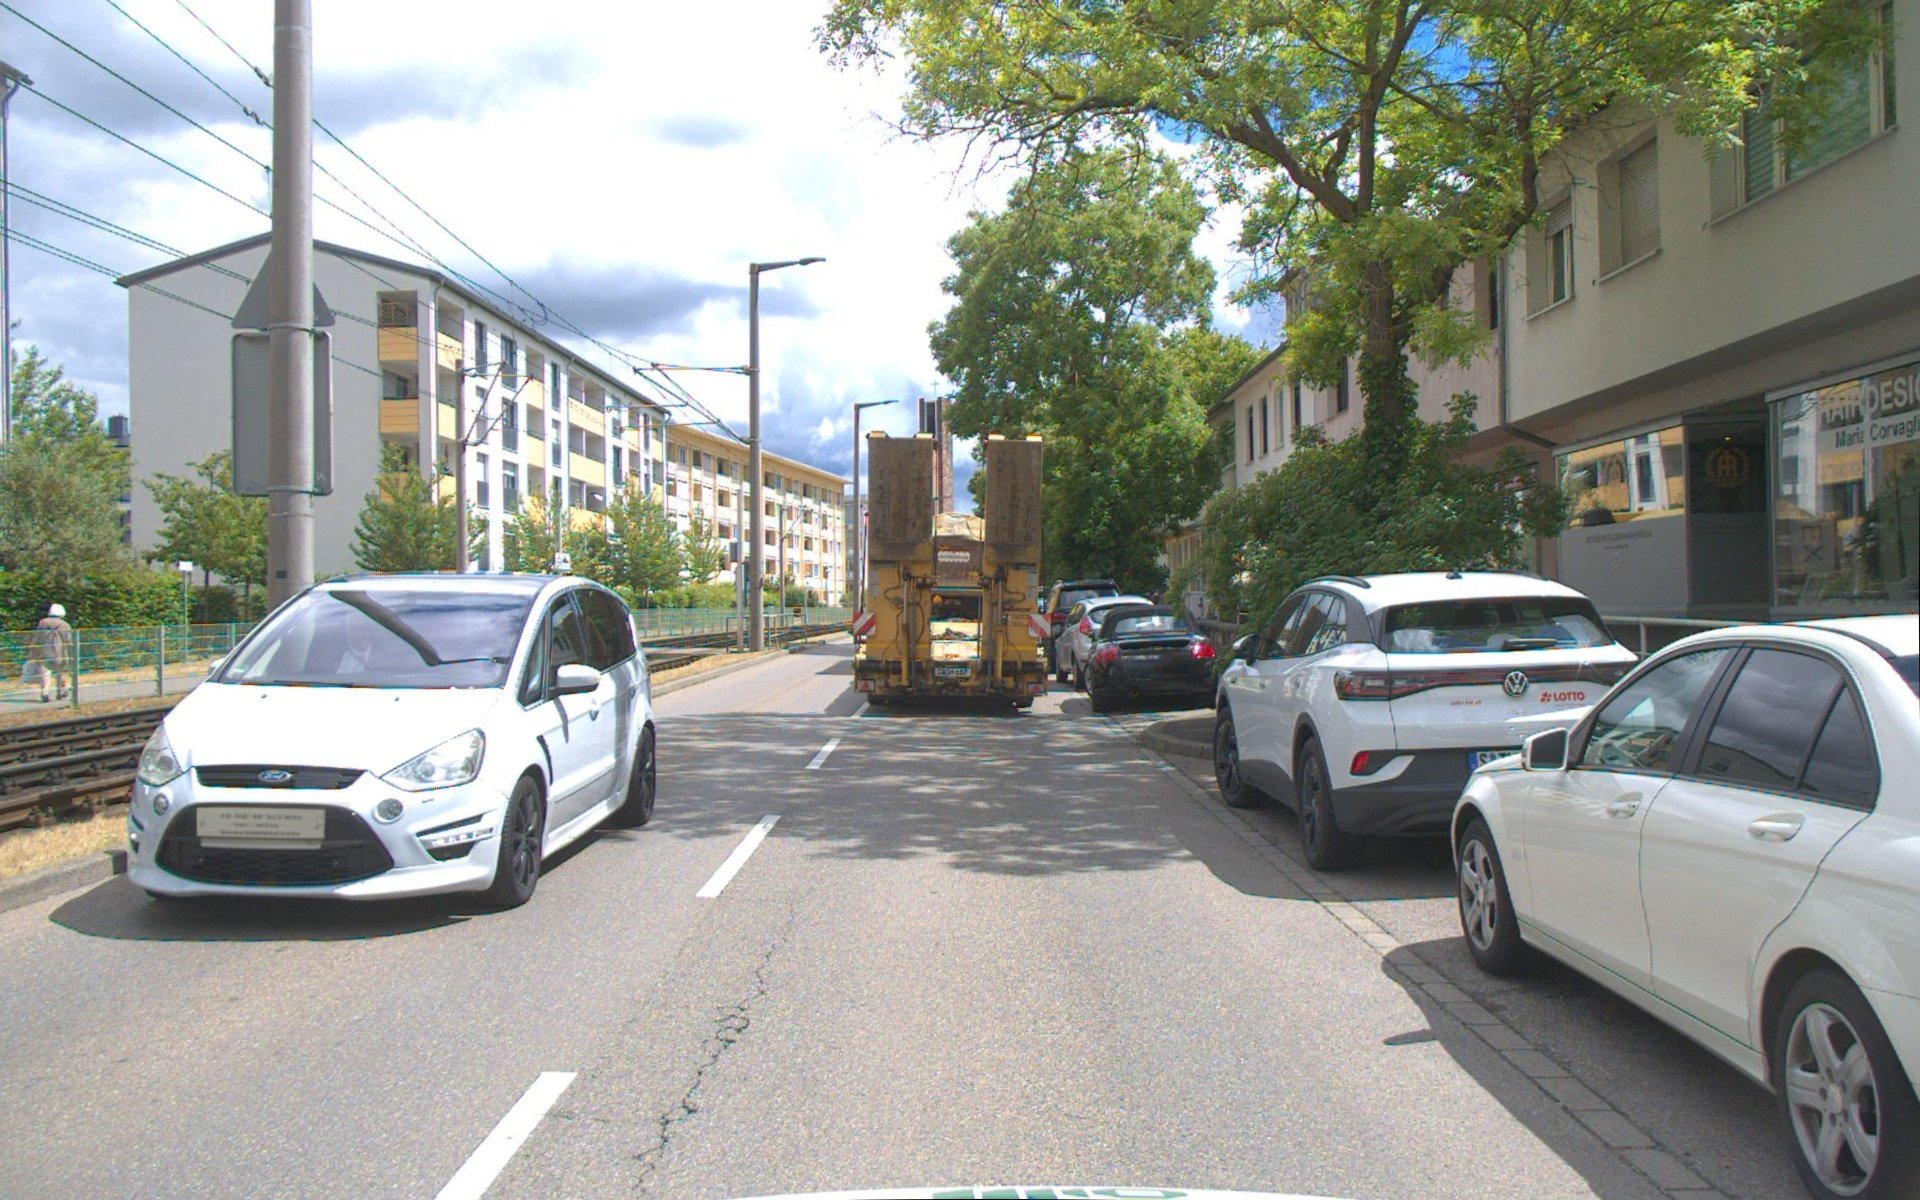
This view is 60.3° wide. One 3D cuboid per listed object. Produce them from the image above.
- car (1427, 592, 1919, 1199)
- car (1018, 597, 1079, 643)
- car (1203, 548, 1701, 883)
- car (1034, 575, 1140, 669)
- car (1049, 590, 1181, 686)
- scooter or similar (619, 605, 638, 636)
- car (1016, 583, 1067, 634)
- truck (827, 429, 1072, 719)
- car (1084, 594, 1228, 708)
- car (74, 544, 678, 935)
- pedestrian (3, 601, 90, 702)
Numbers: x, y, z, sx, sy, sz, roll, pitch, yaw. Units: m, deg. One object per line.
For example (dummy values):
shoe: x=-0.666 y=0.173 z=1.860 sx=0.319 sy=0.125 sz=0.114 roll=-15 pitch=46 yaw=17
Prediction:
car: x=2.927 y=0.702 z=5.164 sx=1.689 sy=1.451 sz=4.446 roll=0 pitch=0 yaw=0
car: x=2.963 y=0.649 z=56.116 sx=1.719 sy=1.467 sz=4.493 roll=-1 pitch=0 yaw=-1
car: x=2.800 y=0.579 z=10.528 sx=1.800 sy=1.672 sz=4.429 roll=0 pitch=0 yaw=-1
car: x=2.624 y=0.442 z=35.263 sx=1.973 sy=1.820 sz=5.076 roll=-1 pitch=0 yaw=1
car: x=2.614 y=0.619 z=28.649 sx=1.736 sy=1.467 sz=3.898 roll=-3 pitch=0 yaw=-2
scooter or similar: x=-14.180 y=0.853 z=70.771 sx=0.480 sy=1.315 sz=1.302 roll=0 pitch=0 yaw=2
car: x=3.371 y=0.361 z=69.310 sx=1.875 sy=1.993 sz=5.745 roll=-1 pitch=0 yaw=0
truck: x=-0.194 y=-0.329 z=27.009 sx=3.060 sy=3.627 sz=12.457 roll=0 pitch=0 yaw=-1
car: x=2.672 y=0.660 z=23.300 sx=1.734 sy=1.373 sz=4.002 roll=-3 pitch=0 yaw=4
car: x=-2.873 y=0.597 z=9.337 sx=1.780 sy=1.642 sz=4.601 roll=1 pitch=0 yaw=0
pedestrian: x=-13.906 y=0.772 z=25.212 sx=0.780 sy=1.509 sz=0.995 roll=0 pitch=0 yaw=-1
